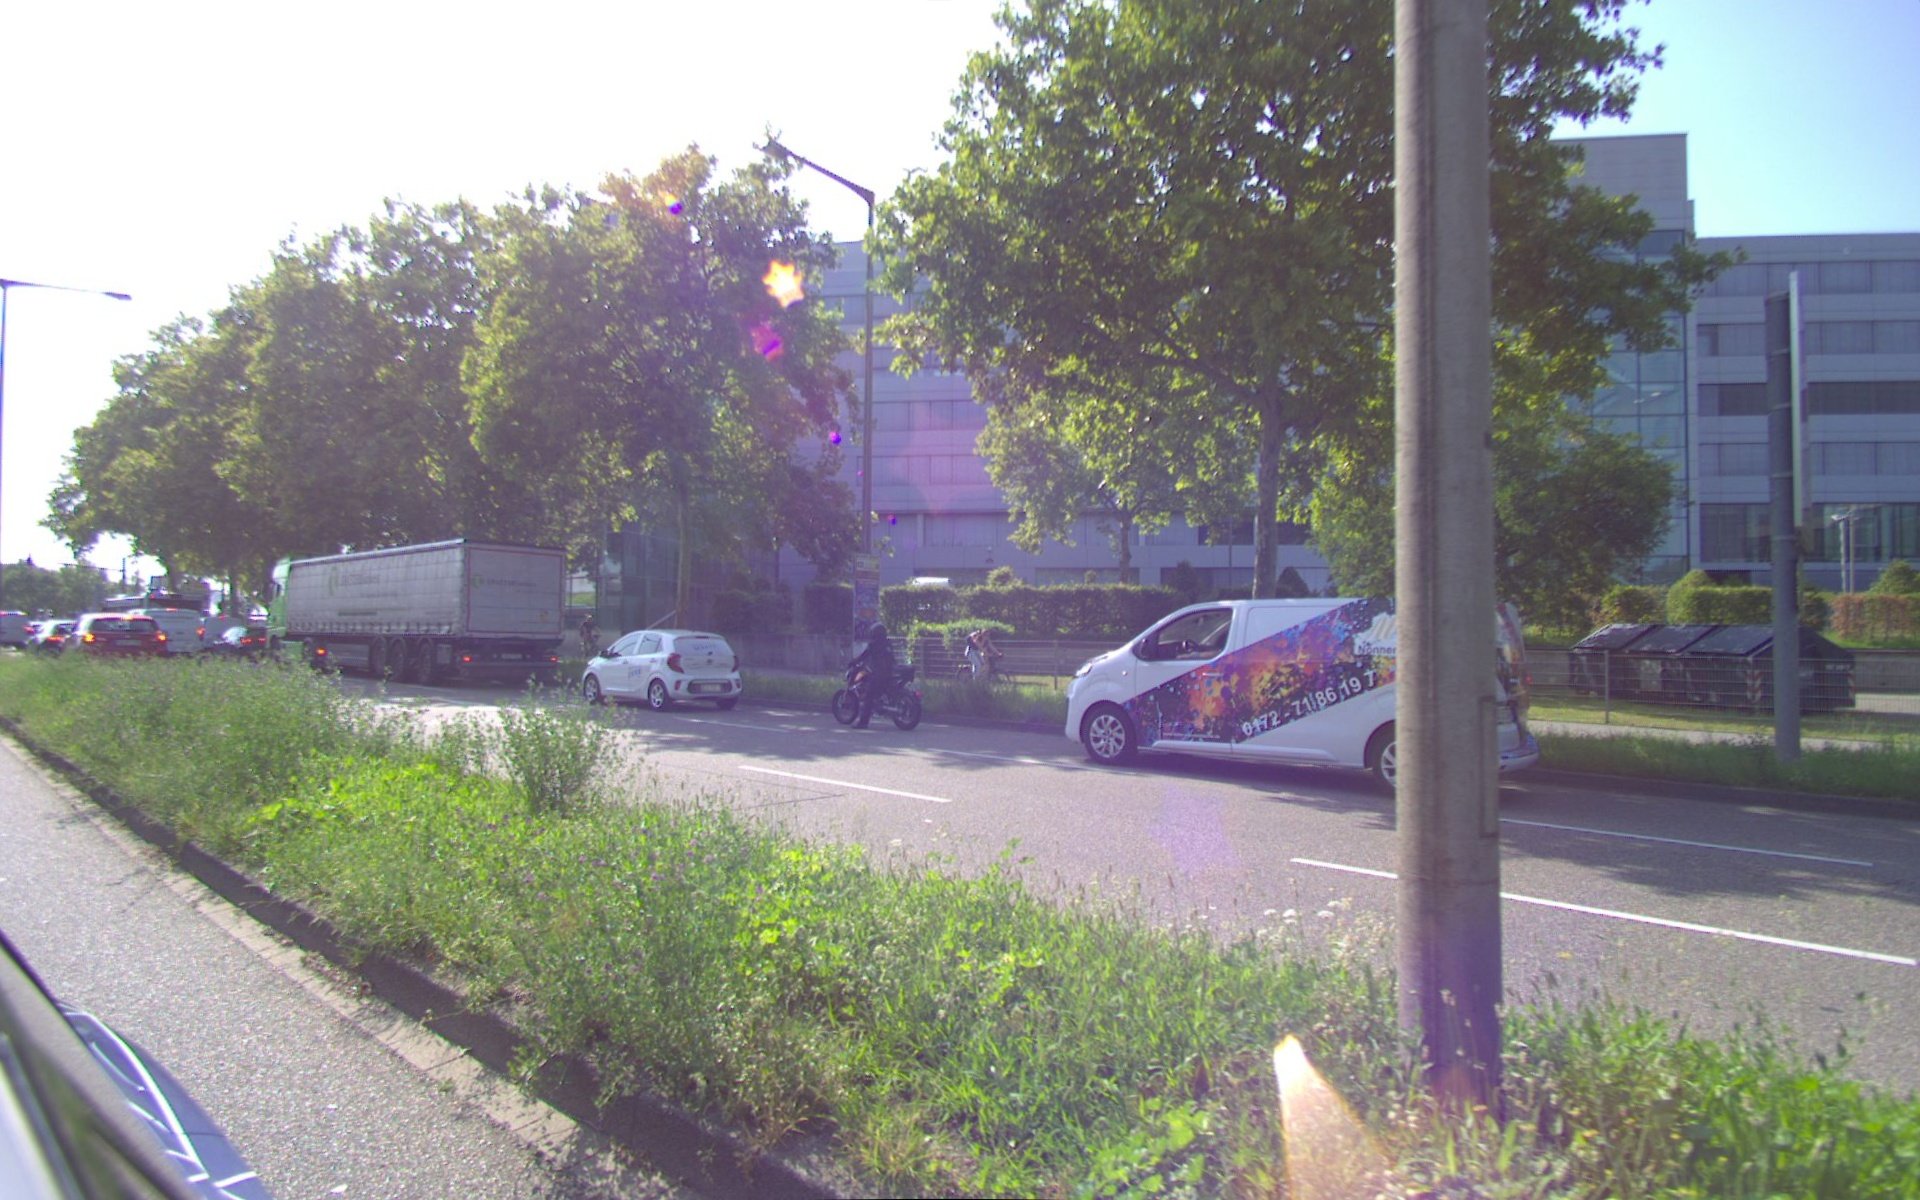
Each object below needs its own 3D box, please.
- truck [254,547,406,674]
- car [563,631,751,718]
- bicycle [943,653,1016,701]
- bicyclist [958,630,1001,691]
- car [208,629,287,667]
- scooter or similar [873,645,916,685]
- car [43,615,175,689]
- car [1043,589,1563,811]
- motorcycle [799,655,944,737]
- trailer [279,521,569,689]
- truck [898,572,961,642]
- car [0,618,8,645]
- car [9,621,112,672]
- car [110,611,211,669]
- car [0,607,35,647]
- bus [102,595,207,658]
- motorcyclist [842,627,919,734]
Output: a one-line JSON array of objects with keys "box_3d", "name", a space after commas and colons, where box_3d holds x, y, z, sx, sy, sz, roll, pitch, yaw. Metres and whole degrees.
[{"box_3d": [-20.838, 0.427, 33.385, 5.889, 3.849, 2.580, -1, -4, 42], "name": "truck"}, {"box_3d": [-5.856, 1.362, 19.381, 3.831, 1.490, 1.727, -1, -4, 43], "name": "car"}, {"box_3d": [0.455, 1.859, 24.724, 1.799, 1.116, 0.641, -2, -3, 41], "name": "bicycle"}, {"box_3d": [0.485, 1.471, 24.732, 0.839, 1.450, 0.641, -2, -3, 41], "name": "bicyclist"}, {"box_3d": [-28.862, 1.933, 40.955, 4.479, 1.422, 1.629, -1, -4, 42], "name": "car"}, {"box_3d": [-1.982, 1.952, 30.500, 1.381, 1.136, 0.503, -1, -2, 43], "name": "scooter or similar"}, {"box_3d": [-21.718, 1.279, 25.767, 4.586, 1.737, 1.933, -1, -3, 42], "name": "car"}, {"box_3d": [3.486, 0.939, 10.969, 4.968, 1.873, 1.963, -1, -4, 42], "name": "car"}, {"box_3d": [-1.412, 1.442, 15.690, 2.467, 1.115, 0.786, -1, -2, 43], "name": "motorcycle"}, {"box_3d": [-15.758, 0.297, 28.794, 13.808, 3.851, 2.605, -1, -4, 42], "name": "trailer"}, {"box_3d": [-1.266, 0.357, 44.748, 2.210, 2.883, 5.897, 0, -1, 4], "name": "truck"}, {"box_3d": [-53.176, 1.715, 55.048, 4.082, 1.413, 1.691, -2, -5, 42], "name": "car"}, {"box_3d": [-28.260, 1.442, 31.747, 4.583, 1.490, 1.728, -1, -4, 40], "name": "car"}, {"box_3d": [-29.000, 1.437, 36.645, 5.034, 1.968, 1.972, -1, -3, 42], "name": "car"}, {"box_3d": [-47.410, 1.369, 50.053, 4.888, 1.878, 1.891, -2, -4, 42], "name": "car"}, {"box_3d": [-43.690, 1.426, 54.662, 12.310, 3.103, 2.562, -1, -2, 43], "name": "bus"}, {"box_3d": [-1.224, 1.204, 15.521, 0.922, 1.566, 0.769, -1, -2, 43], "name": "motorcyclist"}]
